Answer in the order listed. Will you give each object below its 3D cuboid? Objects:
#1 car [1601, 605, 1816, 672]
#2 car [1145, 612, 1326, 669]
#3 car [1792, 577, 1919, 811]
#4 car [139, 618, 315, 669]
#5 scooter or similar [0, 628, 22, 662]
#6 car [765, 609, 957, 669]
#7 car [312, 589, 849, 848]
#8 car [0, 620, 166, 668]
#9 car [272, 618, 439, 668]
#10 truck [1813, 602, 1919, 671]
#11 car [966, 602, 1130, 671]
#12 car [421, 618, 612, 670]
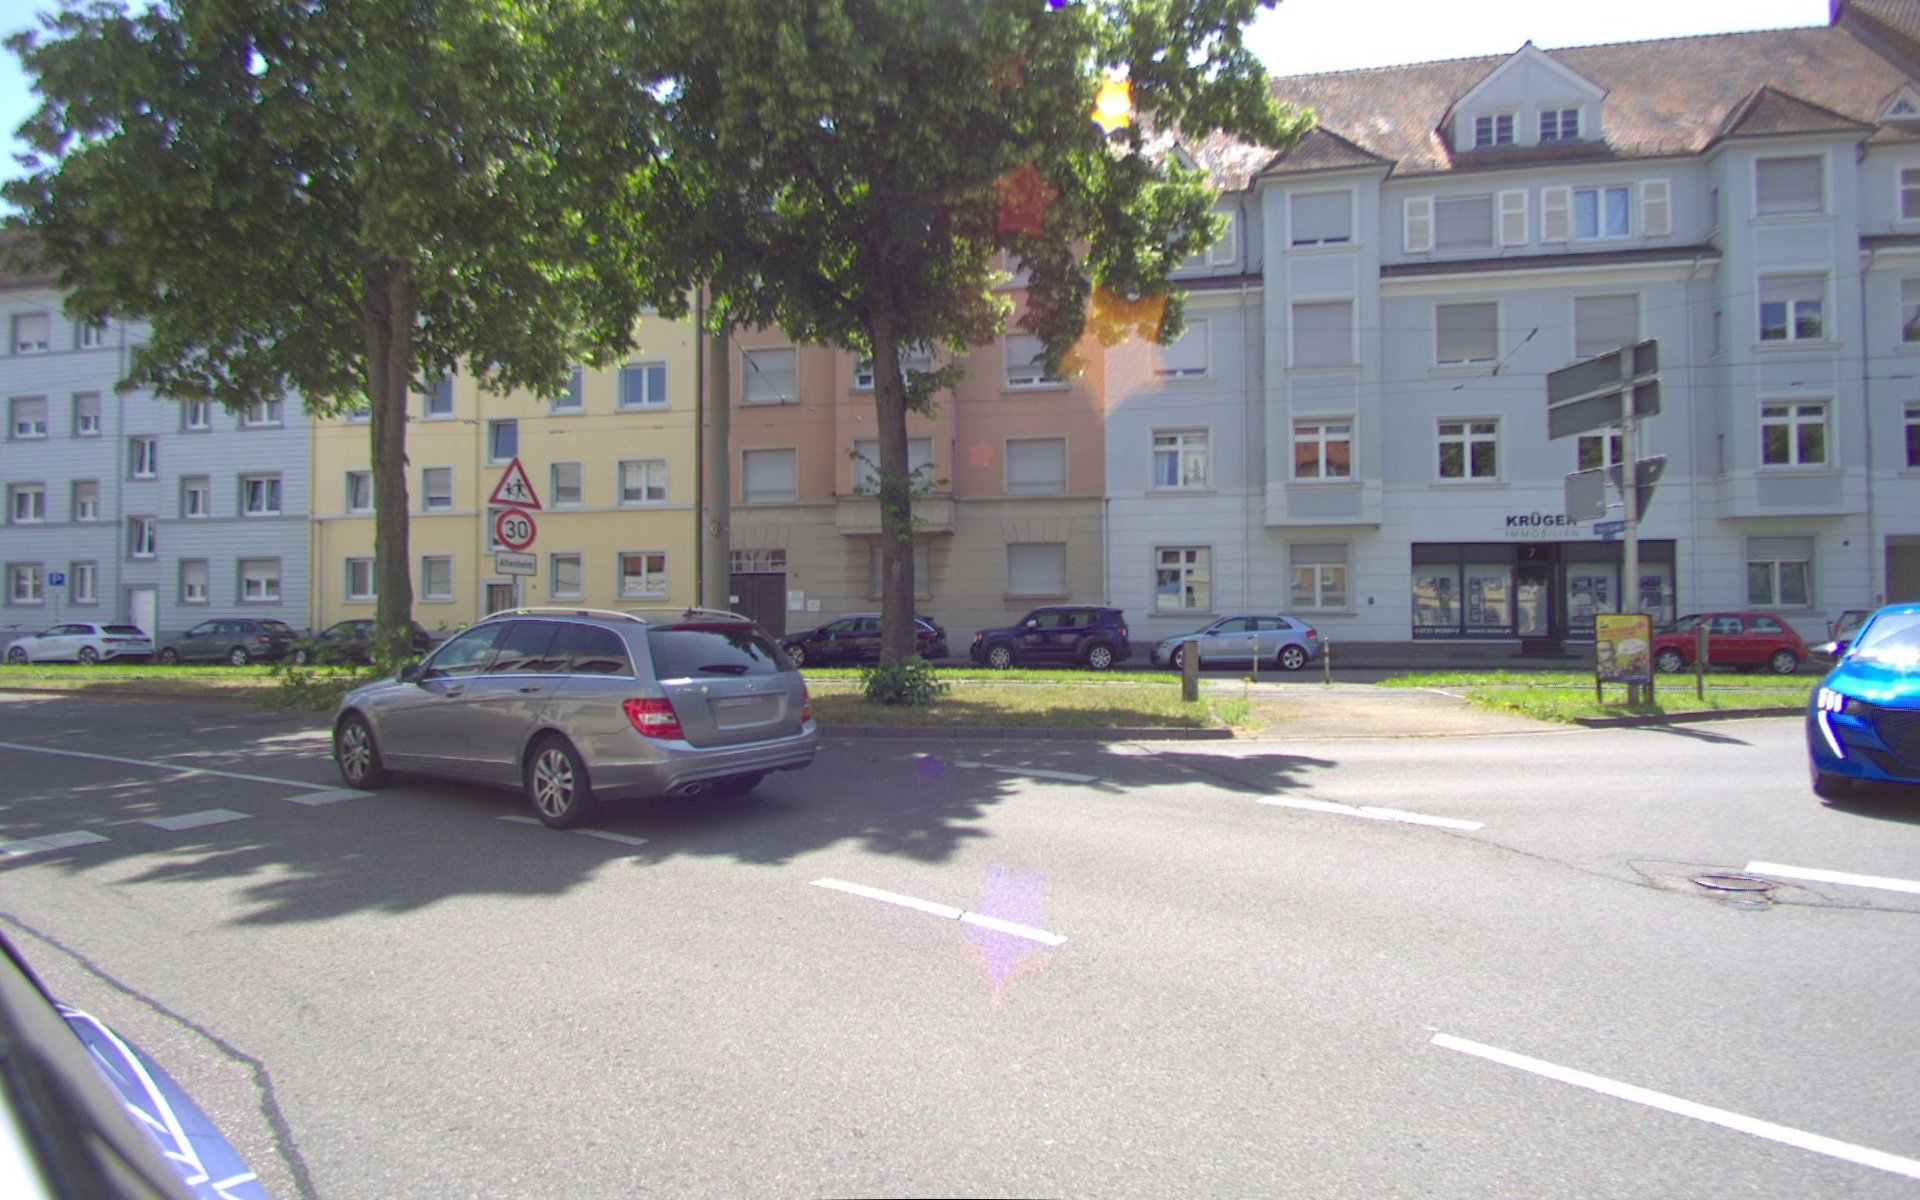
[{"bbox_3d":[17.161,0.911,23.370,3.586,1.462,1.571,-1,-3,11],"label":"car"},{"bbox_3d":[6.802,1.043,25.446,4.204,1.367,1.807,-1,-3,11],"label":"car"},{"bbox_3d":[7.859,0.602,7.553,3.937,1.503,1.818,0,-2,-40],"label":"car"},{"bbox_3d":[-22.595,1.350,31.282,4.276,1.516,1.928,-1,-3,9],"label":"car"},{"bbox_3d":[-34.810,1.624,36.607,1.306,1.232,0.638,-1,-1,11],"label":"scooter or similar"},{"bbox_3d":[-2.614,1.075,27.152,4.810,1.502,1.927,-1,-3,11],"label":"car"},{"bbox_3d":[-3.090,0.724,7.852,4.397,1.499,1.723,-1,-1,35],"label":"car"},{"bbox_3d":[-27.878,1.424,31.977,4.326,1.463,1.928,-1,-4,9],"label":"car"},{"bbox_3d":[-17.928,1.297,30.086,4.098,1.411,1.830,-1,-3,11],"label":"car"},{"bbox_3d":[21.157,0.837,22.871,2.565,1.506,1.126,-1,-3,10],"label":"truck"},{"bbox_3d":[2.312,0.968,26.253,4.097,1.698,1.836,-1,-3,11],"label":"car"},{"bbox_3d":[-12.673,1.283,29.045,4.812,1.408,1.926,-1,-3,12],"label":"car"}]
